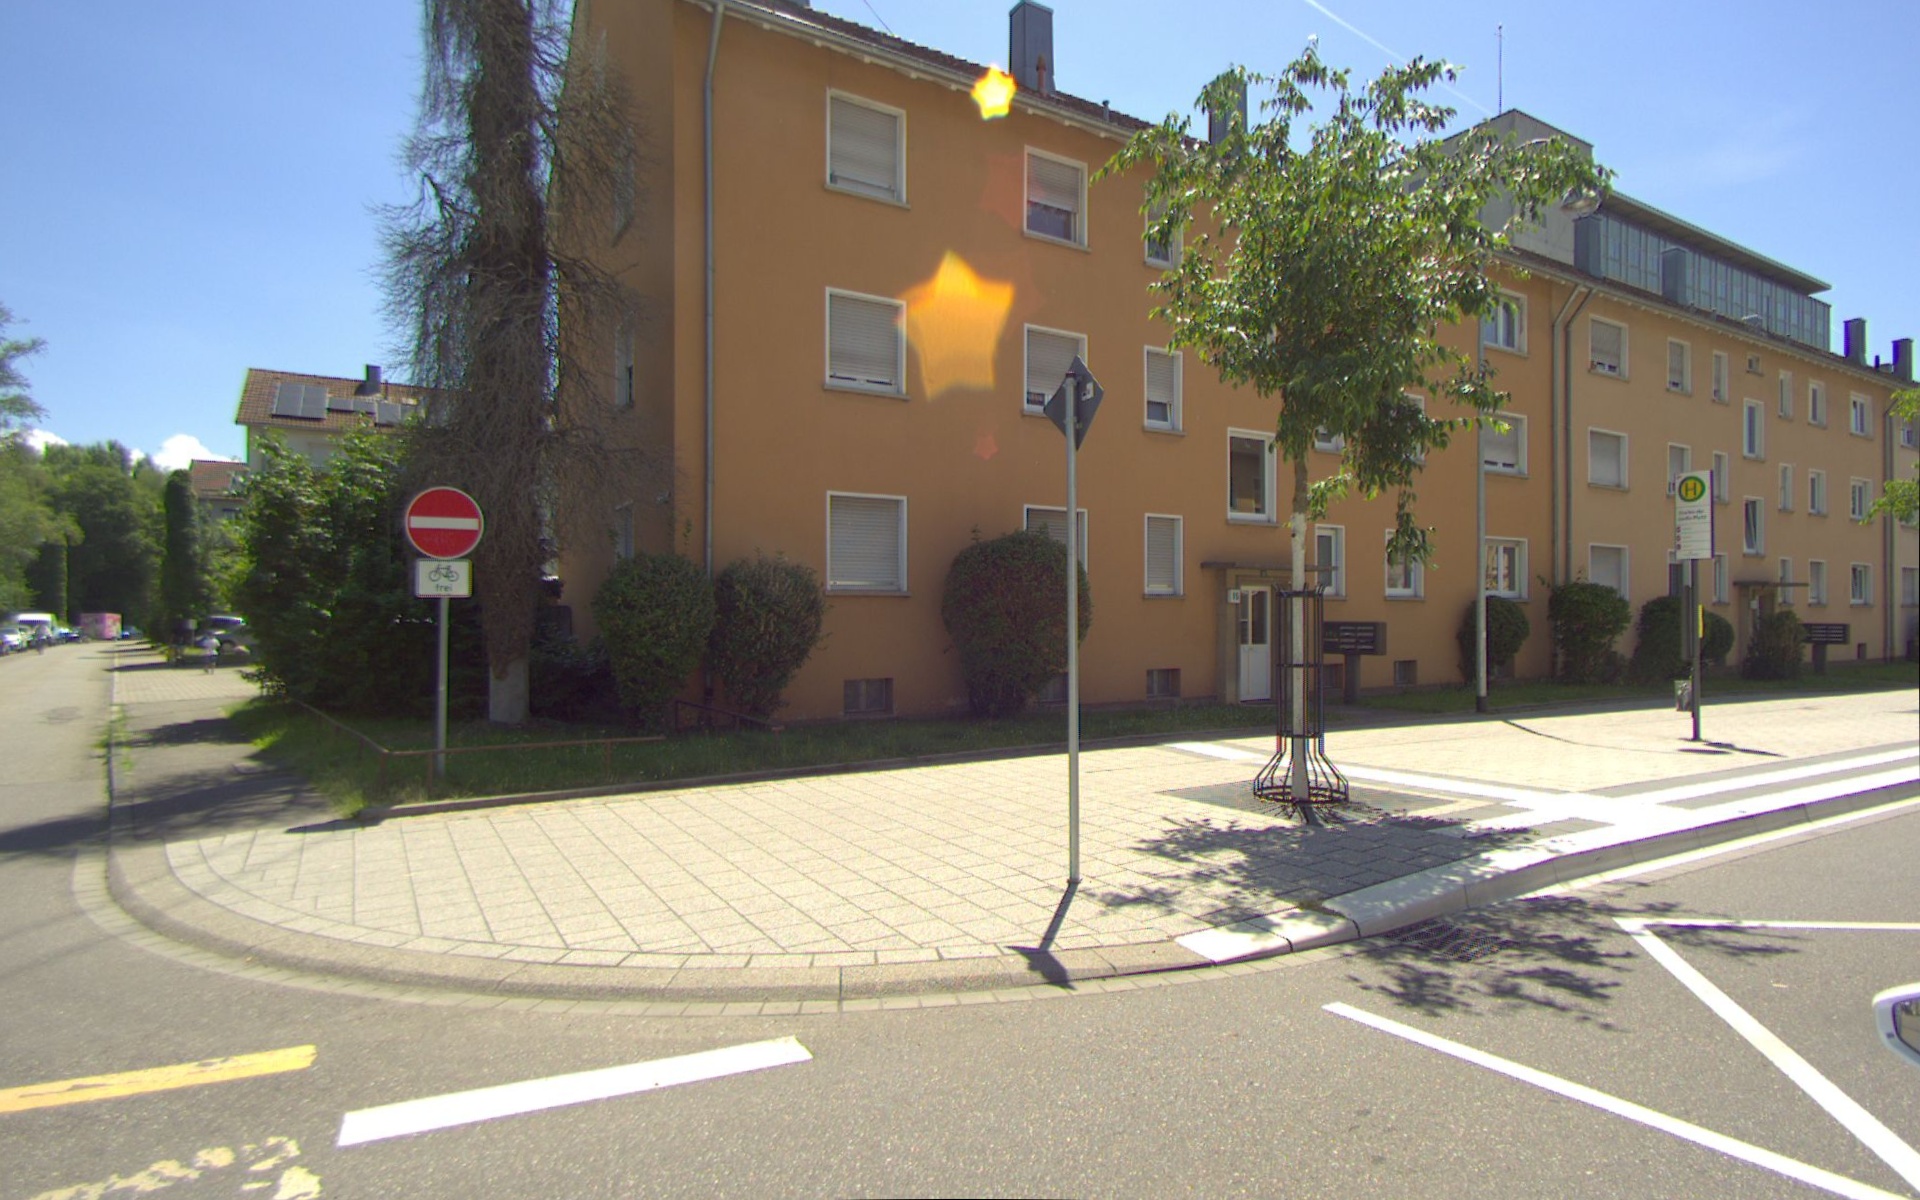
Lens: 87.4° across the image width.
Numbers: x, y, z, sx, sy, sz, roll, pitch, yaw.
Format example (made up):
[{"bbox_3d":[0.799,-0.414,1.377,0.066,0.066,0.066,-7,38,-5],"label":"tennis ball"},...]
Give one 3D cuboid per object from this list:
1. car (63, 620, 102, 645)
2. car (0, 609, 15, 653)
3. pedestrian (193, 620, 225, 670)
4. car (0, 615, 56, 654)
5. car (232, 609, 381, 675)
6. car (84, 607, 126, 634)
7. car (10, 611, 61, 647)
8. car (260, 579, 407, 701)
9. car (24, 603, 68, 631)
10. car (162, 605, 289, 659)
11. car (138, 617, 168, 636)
[{"bbox_3d":[-74.436,2.725,85.263,1.980,2.040,3.962,1,-1,-34],"label":"car"},{"bbox_3d":[-46.814,1.459,48.090,1.984,2.040,3.954,1,-2,-40],"label":"car"},{"bbox_3d":[-23.369,1.388,31.280,0.686,1.532,0.727,1,0,-29],"label":"pedestrian"},{"bbox_3d":[-51.135,1.863,55.168,1.984,2.040,3.954,1,-2,-40],"label":"car"},{"bbox_3d":[-21.297,1.333,32.916,3.956,2.040,1.983,1,0,-32],"label":"car"},{"bbox_3d":[-80.510,1.902,94.652,2.103,2.406,4.701,1,0,-29],"label":"car"},{"bbox_3d":[-54.962,1.702,59.759,1.984,2.040,3.954,1,-2,-40],"label":"car"},{"bbox_3d":[-11.742,0.735,19.077,1.974,2.040,3.973,0,-2,-27],"label":"car"},{"bbox_3d":[-69.531,1.326,76.466,1.981,2.040,3.960,1,-1,-36],"label":"car"},{"bbox_3d":[-26.244,1.105,36.036,3.510,1.812,1.546,-1,1,-32],"label":"car"},{"bbox_3d":[-84.828,2.776,105.649,1.978,2.040,3.966,1,-1,-32],"label":"car"}]
